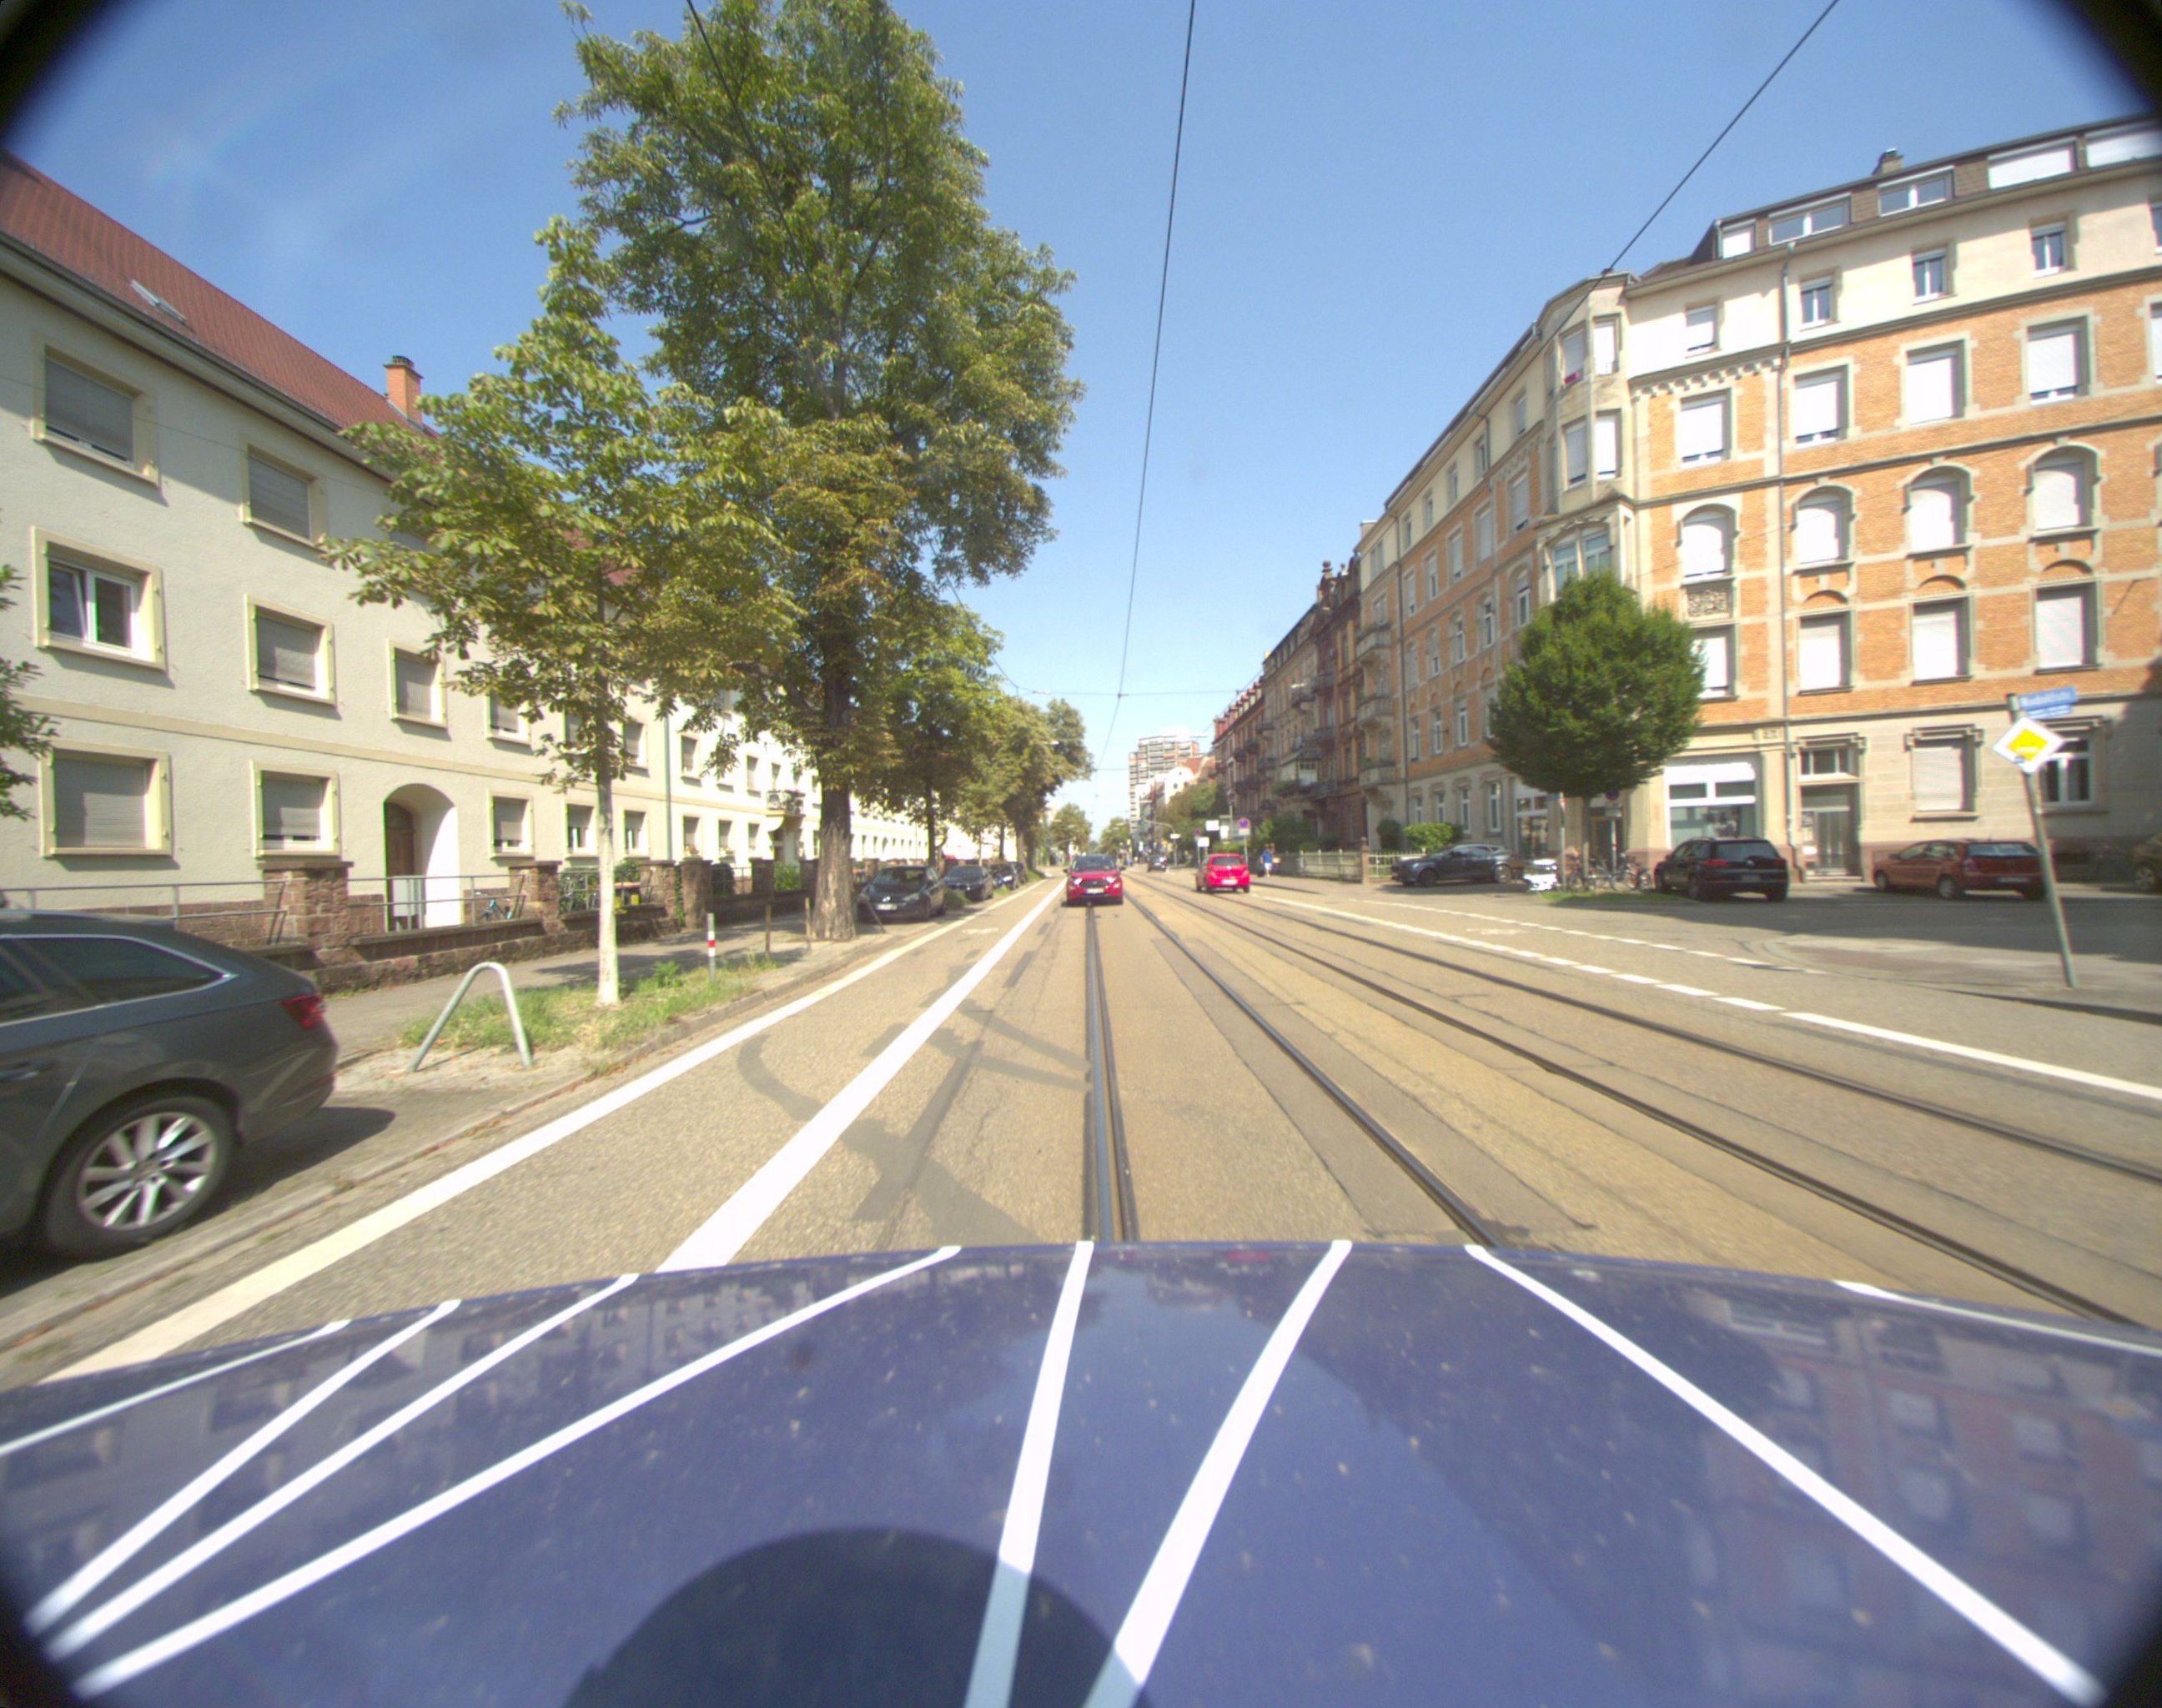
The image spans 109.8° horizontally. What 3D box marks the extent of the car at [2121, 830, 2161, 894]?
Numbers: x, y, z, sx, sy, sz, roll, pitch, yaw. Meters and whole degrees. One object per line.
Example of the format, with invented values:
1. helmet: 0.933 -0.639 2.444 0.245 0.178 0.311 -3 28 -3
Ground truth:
1. car: 26.157 0.213 16.944 1.788 1.468 3.763 -1 2 22

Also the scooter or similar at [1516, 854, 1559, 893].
1. scooter or similar: 13.305 0.558 22.165 0.597 1.092 1.390 -2 0 11

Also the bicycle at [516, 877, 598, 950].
1. bicycle: -10.012 1.102 14.575 0.403 1.250 1.580 -1 0 1

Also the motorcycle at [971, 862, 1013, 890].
1. motorcycle: -4.422 1.094 37.912 2.009 1.360 0.782 -2 1 -2

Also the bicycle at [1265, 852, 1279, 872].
1. bicycle: 11.247 0.466 44.789 0.391 1.141 1.582 -2 0 1

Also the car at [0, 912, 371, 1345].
1. car: -4.927 1.090 1.797 1.897 1.468 4.840 -2 0 0

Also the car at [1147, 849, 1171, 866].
1. car: 7.388 0.368 72.562 1.832 1.531 4.000 -1 0 0

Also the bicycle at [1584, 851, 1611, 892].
1. bicycle: 14.762 0.487 21.726 0.389 1.092 1.454 -2 0 26

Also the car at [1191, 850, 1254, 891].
1. car: 5.551 0.621 30.170 1.736 1.481 4.000 -1 0 0

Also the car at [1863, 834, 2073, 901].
1. car: 22.033 0.289 19.124 1.846 1.468 3.763 -1 2 20

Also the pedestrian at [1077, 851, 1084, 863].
1. pedestrian: -0.034 0.470 114.466 0.676 1.874 0.921 -2 0 -19

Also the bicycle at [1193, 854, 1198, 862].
1. bicycle: 13.027 0.450 86.484 0.488 0.980 1.657 -2 0 4

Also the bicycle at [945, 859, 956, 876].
1. bicycle: -9.171 0.952 53.598 0.469 1.153 1.717 -2 0 0

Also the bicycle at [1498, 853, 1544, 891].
1. bicycle: 13.604 0.552 23.501 1.453 1.092 0.390 -2 0 -22

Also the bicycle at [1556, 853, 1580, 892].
1. bicycle: 14.156 0.520 22.108 0.389 1.092 1.454 -2 0 26

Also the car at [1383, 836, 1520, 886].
1. car: 13.602 0.251 28.107 4.111 1.585 1.879 -3 0 2

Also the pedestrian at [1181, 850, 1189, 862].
1. pedestrian: 17.635 0.336 128.870 1.094 2.002 1.036 -3 1 0

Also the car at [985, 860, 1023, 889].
1. car: -4.226 1.100 41.961 1.621 1.468 4.039 0 0 1

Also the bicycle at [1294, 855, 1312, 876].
1. bicycle: 11.345 0.579 38.845 0.391 1.032 1.833 -2 0 1

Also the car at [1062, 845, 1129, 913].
1. car: 0.462 0.707 23.633 1.803 1.801 4.416 -3 0 1

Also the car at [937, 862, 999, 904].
1. car: -4.552 1.132 31.224 1.760 1.469 4.457 2 1 1

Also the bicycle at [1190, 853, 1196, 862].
1. bicycle: 13.440 0.454 91.166 0.488 1.015 1.778 -2 0 4

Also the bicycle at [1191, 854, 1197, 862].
1. bicycle: 13.154 0.480 88.285 0.488 0.936 1.657 -2 0 4

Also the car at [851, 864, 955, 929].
1. car: -4.707 1.072 20.710 1.760 1.468 4.386 -2 0 0

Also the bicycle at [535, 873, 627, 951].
1. bicycle: -9.555 1.071 14.610 0.457 1.325 1.892 -1 0 1

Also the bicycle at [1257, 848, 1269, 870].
1. bicycle: 11.572 0.300 48.418 0.391 1.397 1.582 -2 0 1

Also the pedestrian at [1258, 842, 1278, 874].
1. pedestrian: 10.619 0.224 43.138 0.885 1.746 0.870 -2 1 1

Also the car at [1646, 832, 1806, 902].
1. car: 17.215 0.301 20.574 1.995 1.679 4.366 -1 0 22

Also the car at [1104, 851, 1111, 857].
1. car: 7.842 -0.091 227.868 1.998 1.716 4.632 -1 0 3

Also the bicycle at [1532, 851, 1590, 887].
1. bicycle: 15.079 0.473 23.883 1.449 1.092 0.391 -2 0 12

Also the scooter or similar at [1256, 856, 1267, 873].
1. scooter or similar: 10.319 0.590 43.403 0.401 0.977 0.584 -3 1 -7

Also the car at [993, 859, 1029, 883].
1. car: -4.537 1.090 49.961 1.620 1.521 3.500 -1 0 7
